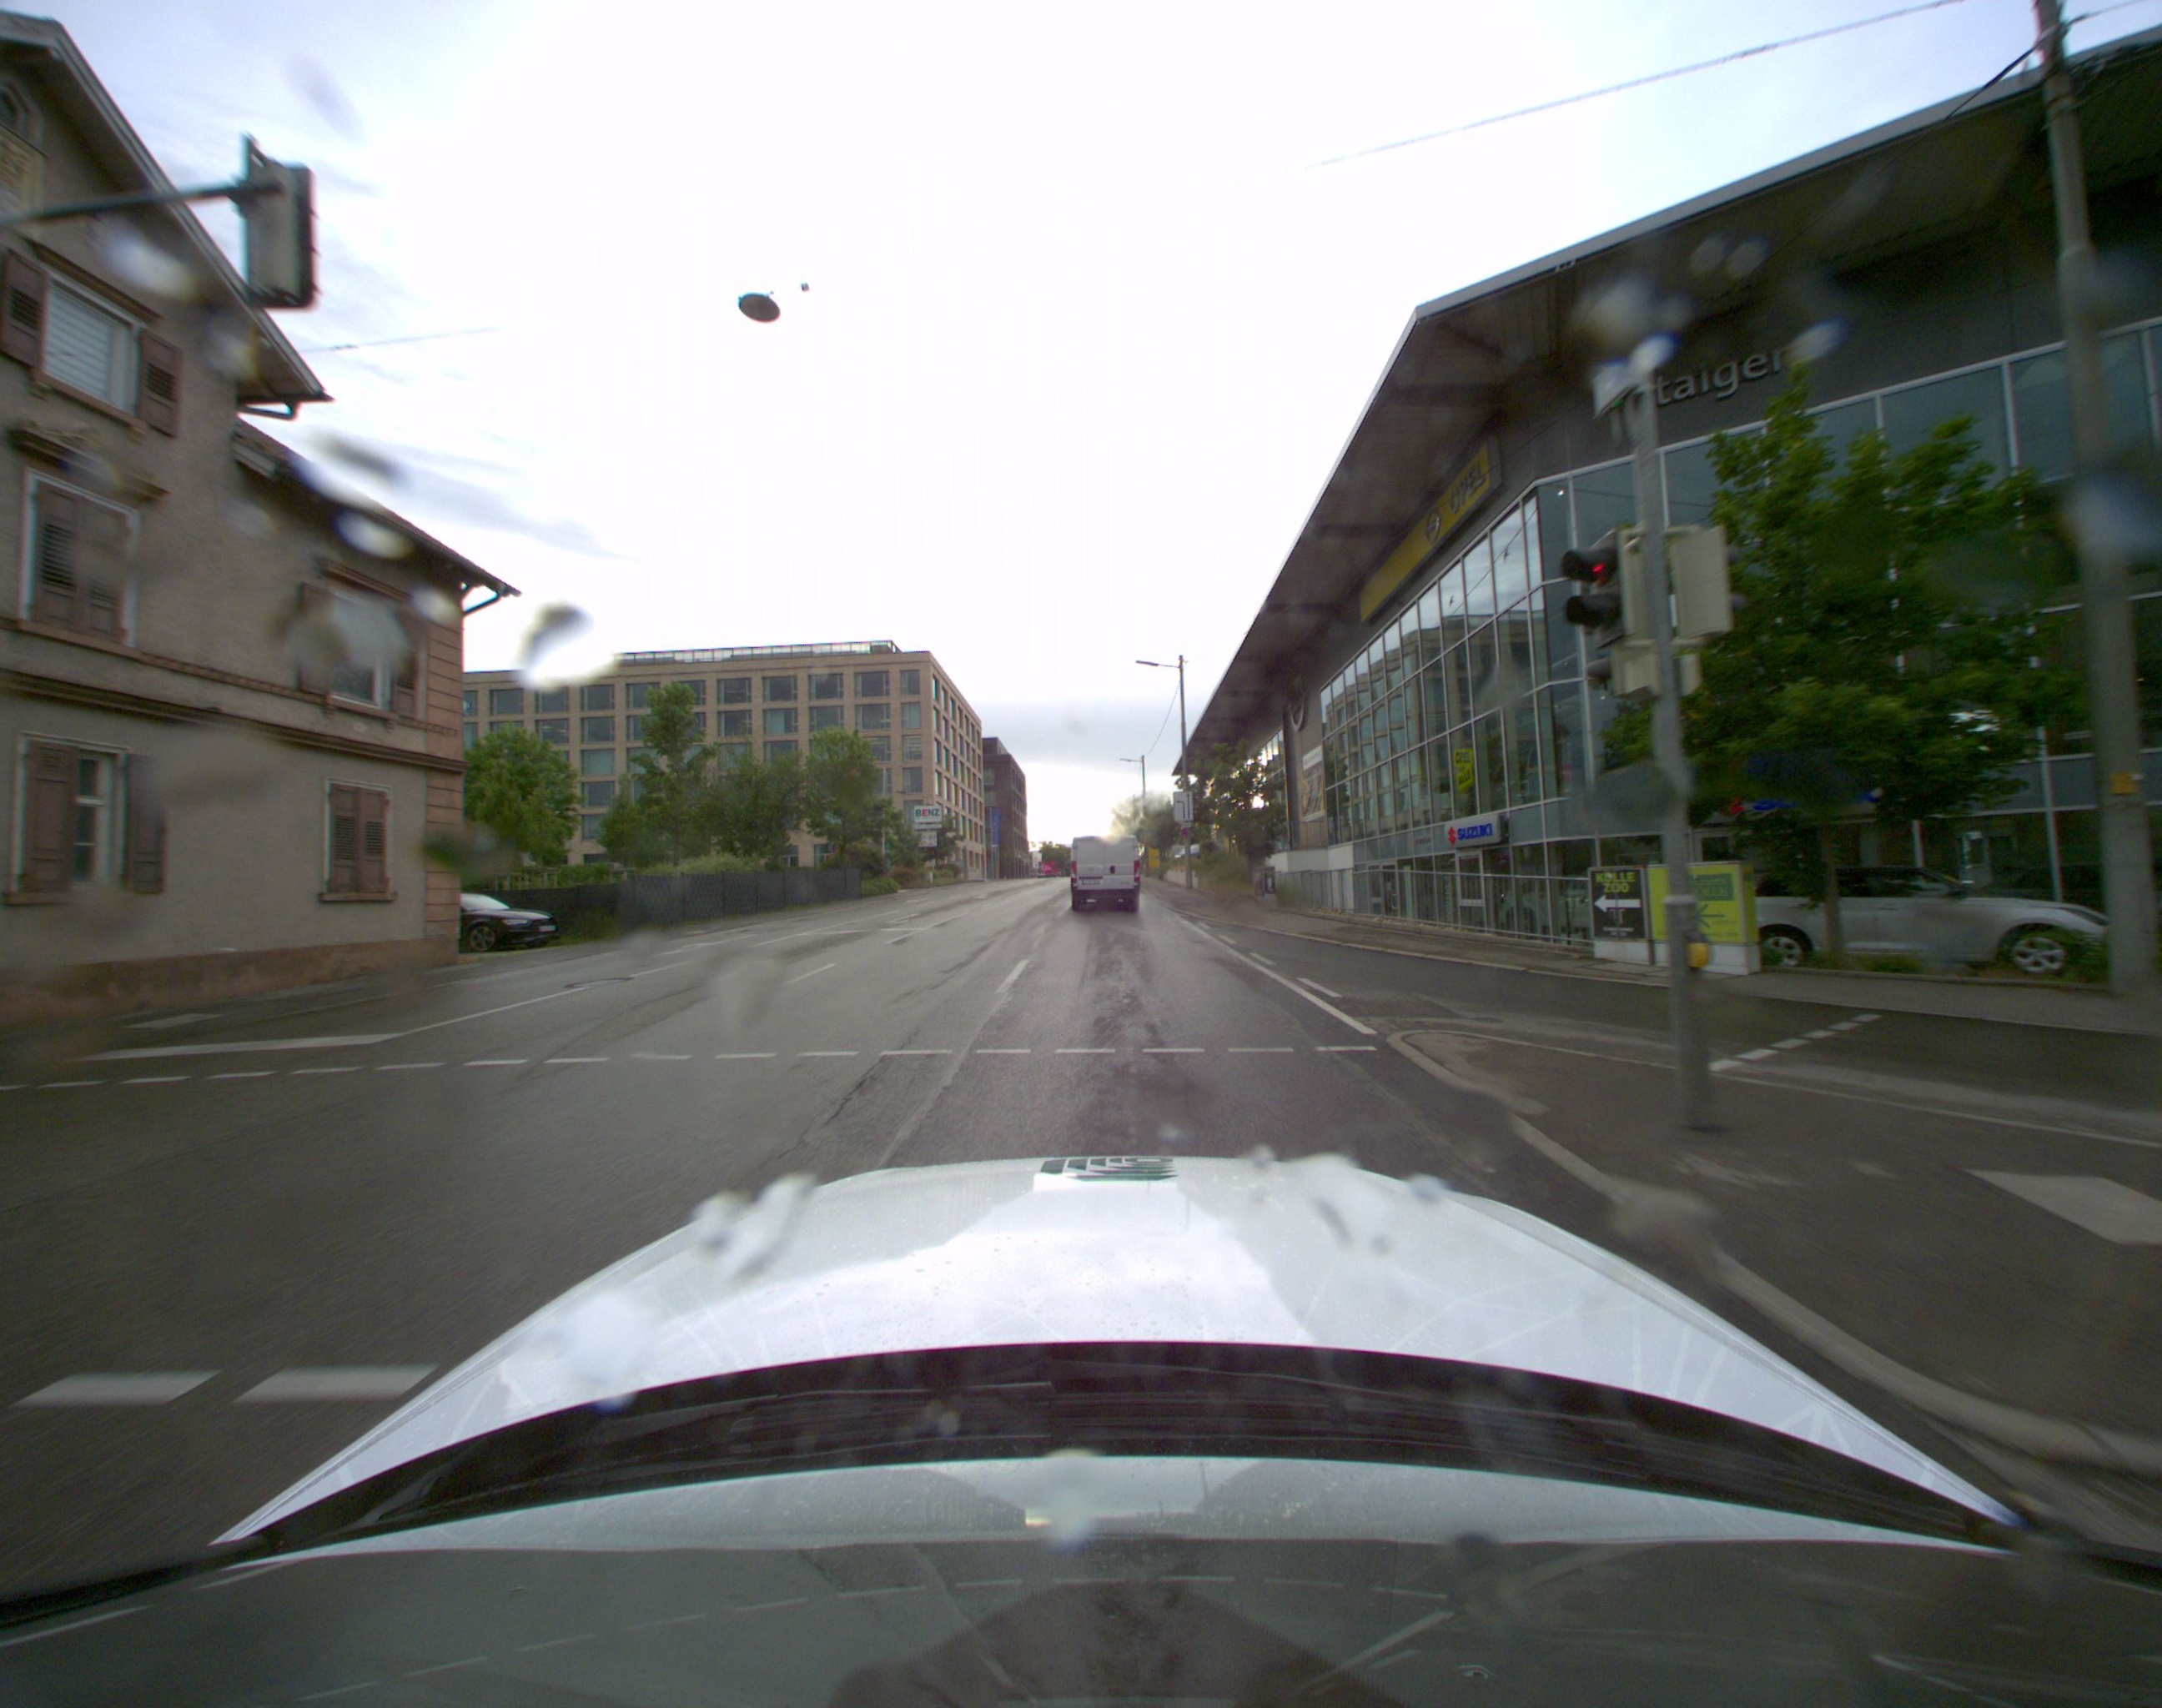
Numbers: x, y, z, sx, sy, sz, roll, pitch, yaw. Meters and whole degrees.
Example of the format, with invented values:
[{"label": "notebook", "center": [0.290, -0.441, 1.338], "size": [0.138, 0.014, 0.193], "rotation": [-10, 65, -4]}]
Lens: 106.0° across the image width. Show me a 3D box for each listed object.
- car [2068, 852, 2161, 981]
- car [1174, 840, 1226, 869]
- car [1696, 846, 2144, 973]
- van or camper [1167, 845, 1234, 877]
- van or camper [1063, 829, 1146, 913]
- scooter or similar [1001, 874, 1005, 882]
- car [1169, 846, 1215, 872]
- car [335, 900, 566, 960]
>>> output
[{"label": "car", "center": [14.896, 0.664, 9.442], "size": [3.948, 1.530, 1.837], "rotation": [-4, -3, 34]}, {"label": "car", "center": [8.060, 0.061, 54.741], "size": [1.975, 1.711, 4.455], "rotation": [-4, -3, 28]}, {"label": "car", "center": [11.337, 0.796, 11.495], "size": [3.949, 1.508, 1.909], "rotation": [-3, -5, 29]}, {"label": "van or camper", "center": [10.696, 0.638, 73.491], "size": [5.716, 2.724, 2.352], "rotation": [-1, -1, 1]}, {"label": "van or camper", "center": [0.785, 0.526, 25.836], "size": [2.330, 2.357, 5.202], "rotation": [-1, -1, 2]}, {"label": "scooter or similar", "center": [-11.825, 3.626, 123.368], "size": [0.349, 1.072, 1.429], "rotation": [-1, -3, 3]}, {"label": "car", "center": [8.150, 0.370, 59.525], "size": [1.975, 1.711, 4.604], "rotation": [-4, -2, 25]}, {"label": "car", "center": [-14.435, 1.723, 18.814], "size": [3.977, 1.163, 1.605], "rotation": [-1, -1, -3]}]
